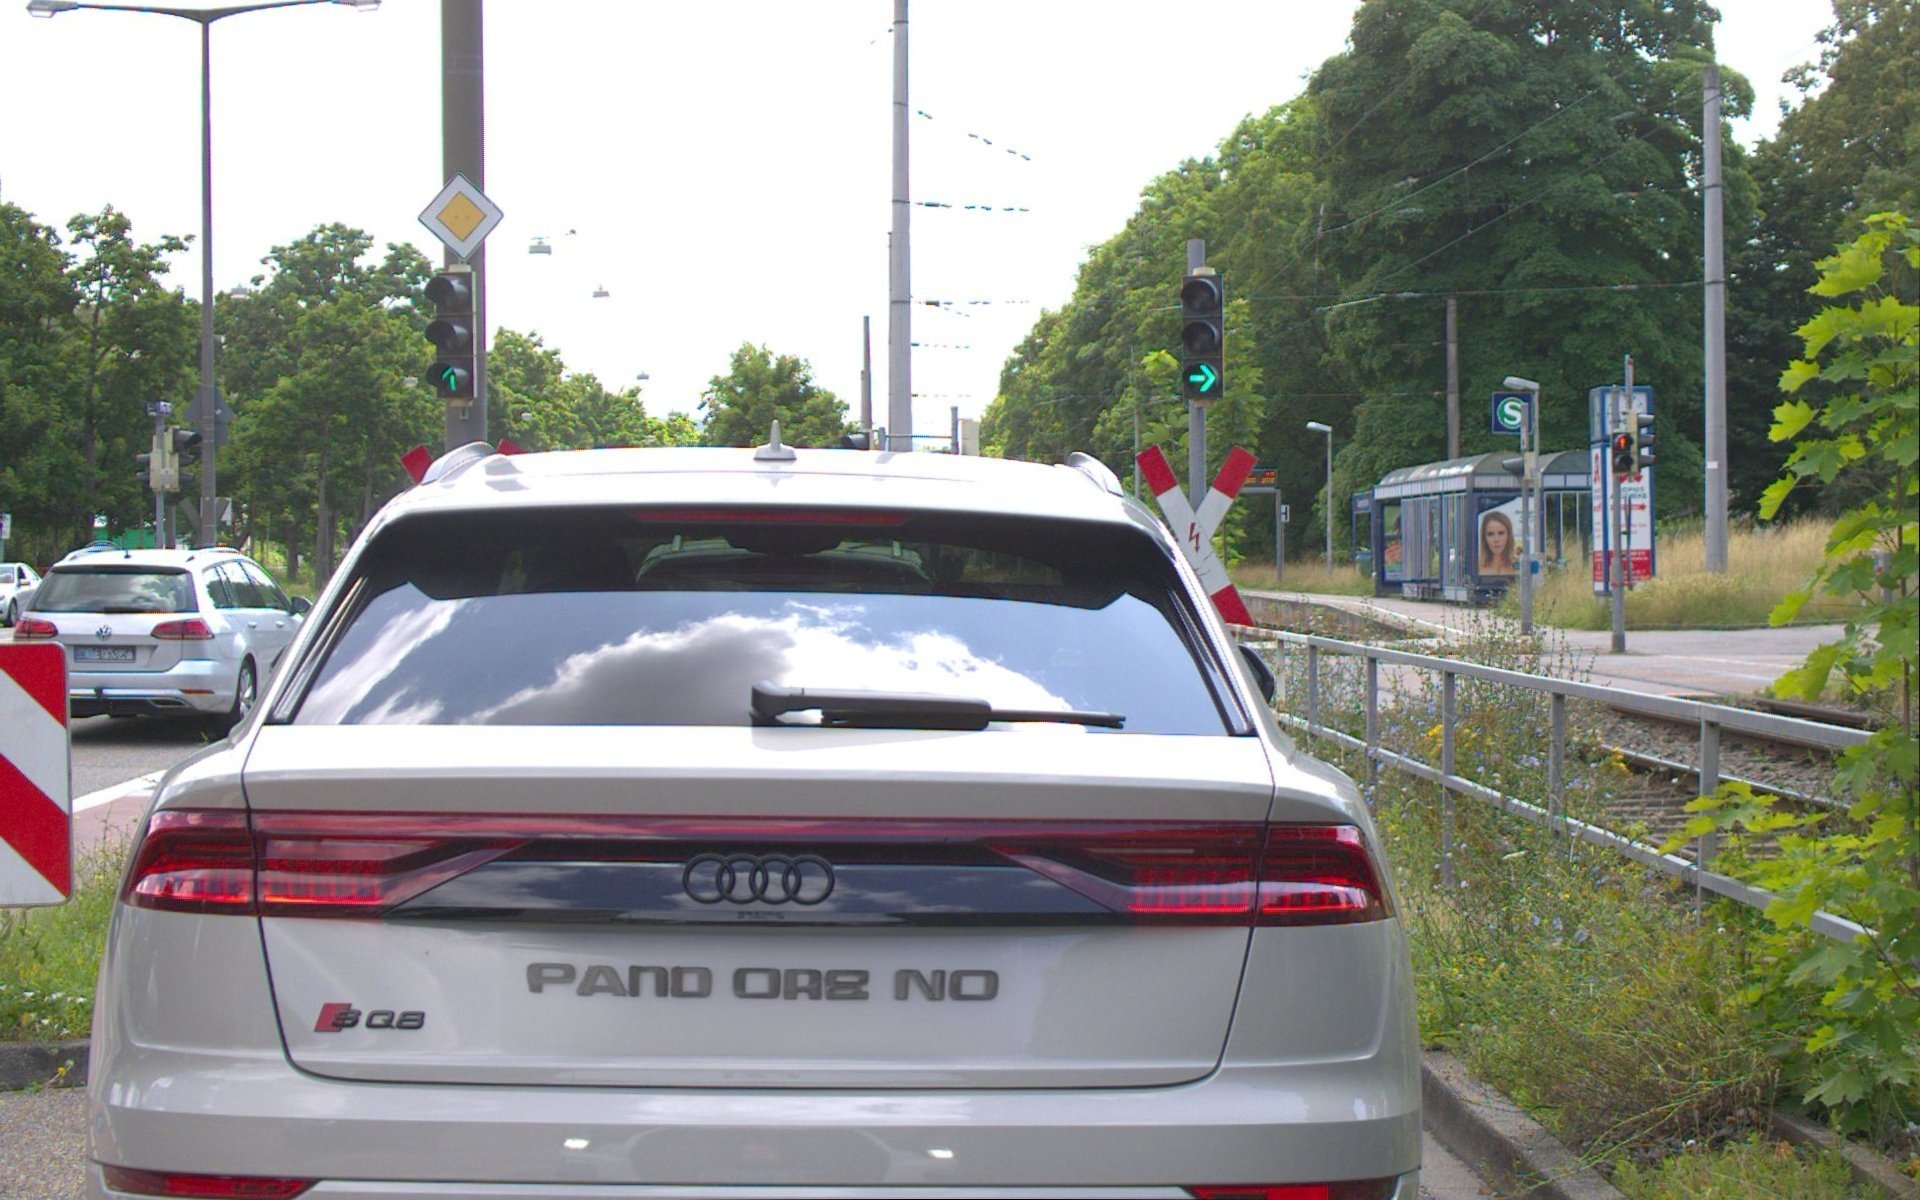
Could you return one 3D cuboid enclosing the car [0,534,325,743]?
[{"bbox_3d":[-6.322,0.261,27.513,1.785,1.520,4.301,1,1,-2],"label":"car"}]

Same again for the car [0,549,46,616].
[{"bbox_3d":[-21.548,-0.392,75.699,1.799,1.427,4.497,-1,1,-2],"label":"car"}]

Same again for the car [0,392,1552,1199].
[{"bbox_3d":[-0.282,0.568,6.615,1.981,1.678,4.574,1,1,-1],"label":"car"}]

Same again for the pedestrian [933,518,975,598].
[{"bbox_3d":[-0.112,-0.795,64.840,0.653,1.508,0.718,-1,1,-10],"label":"pedestrian"}]
